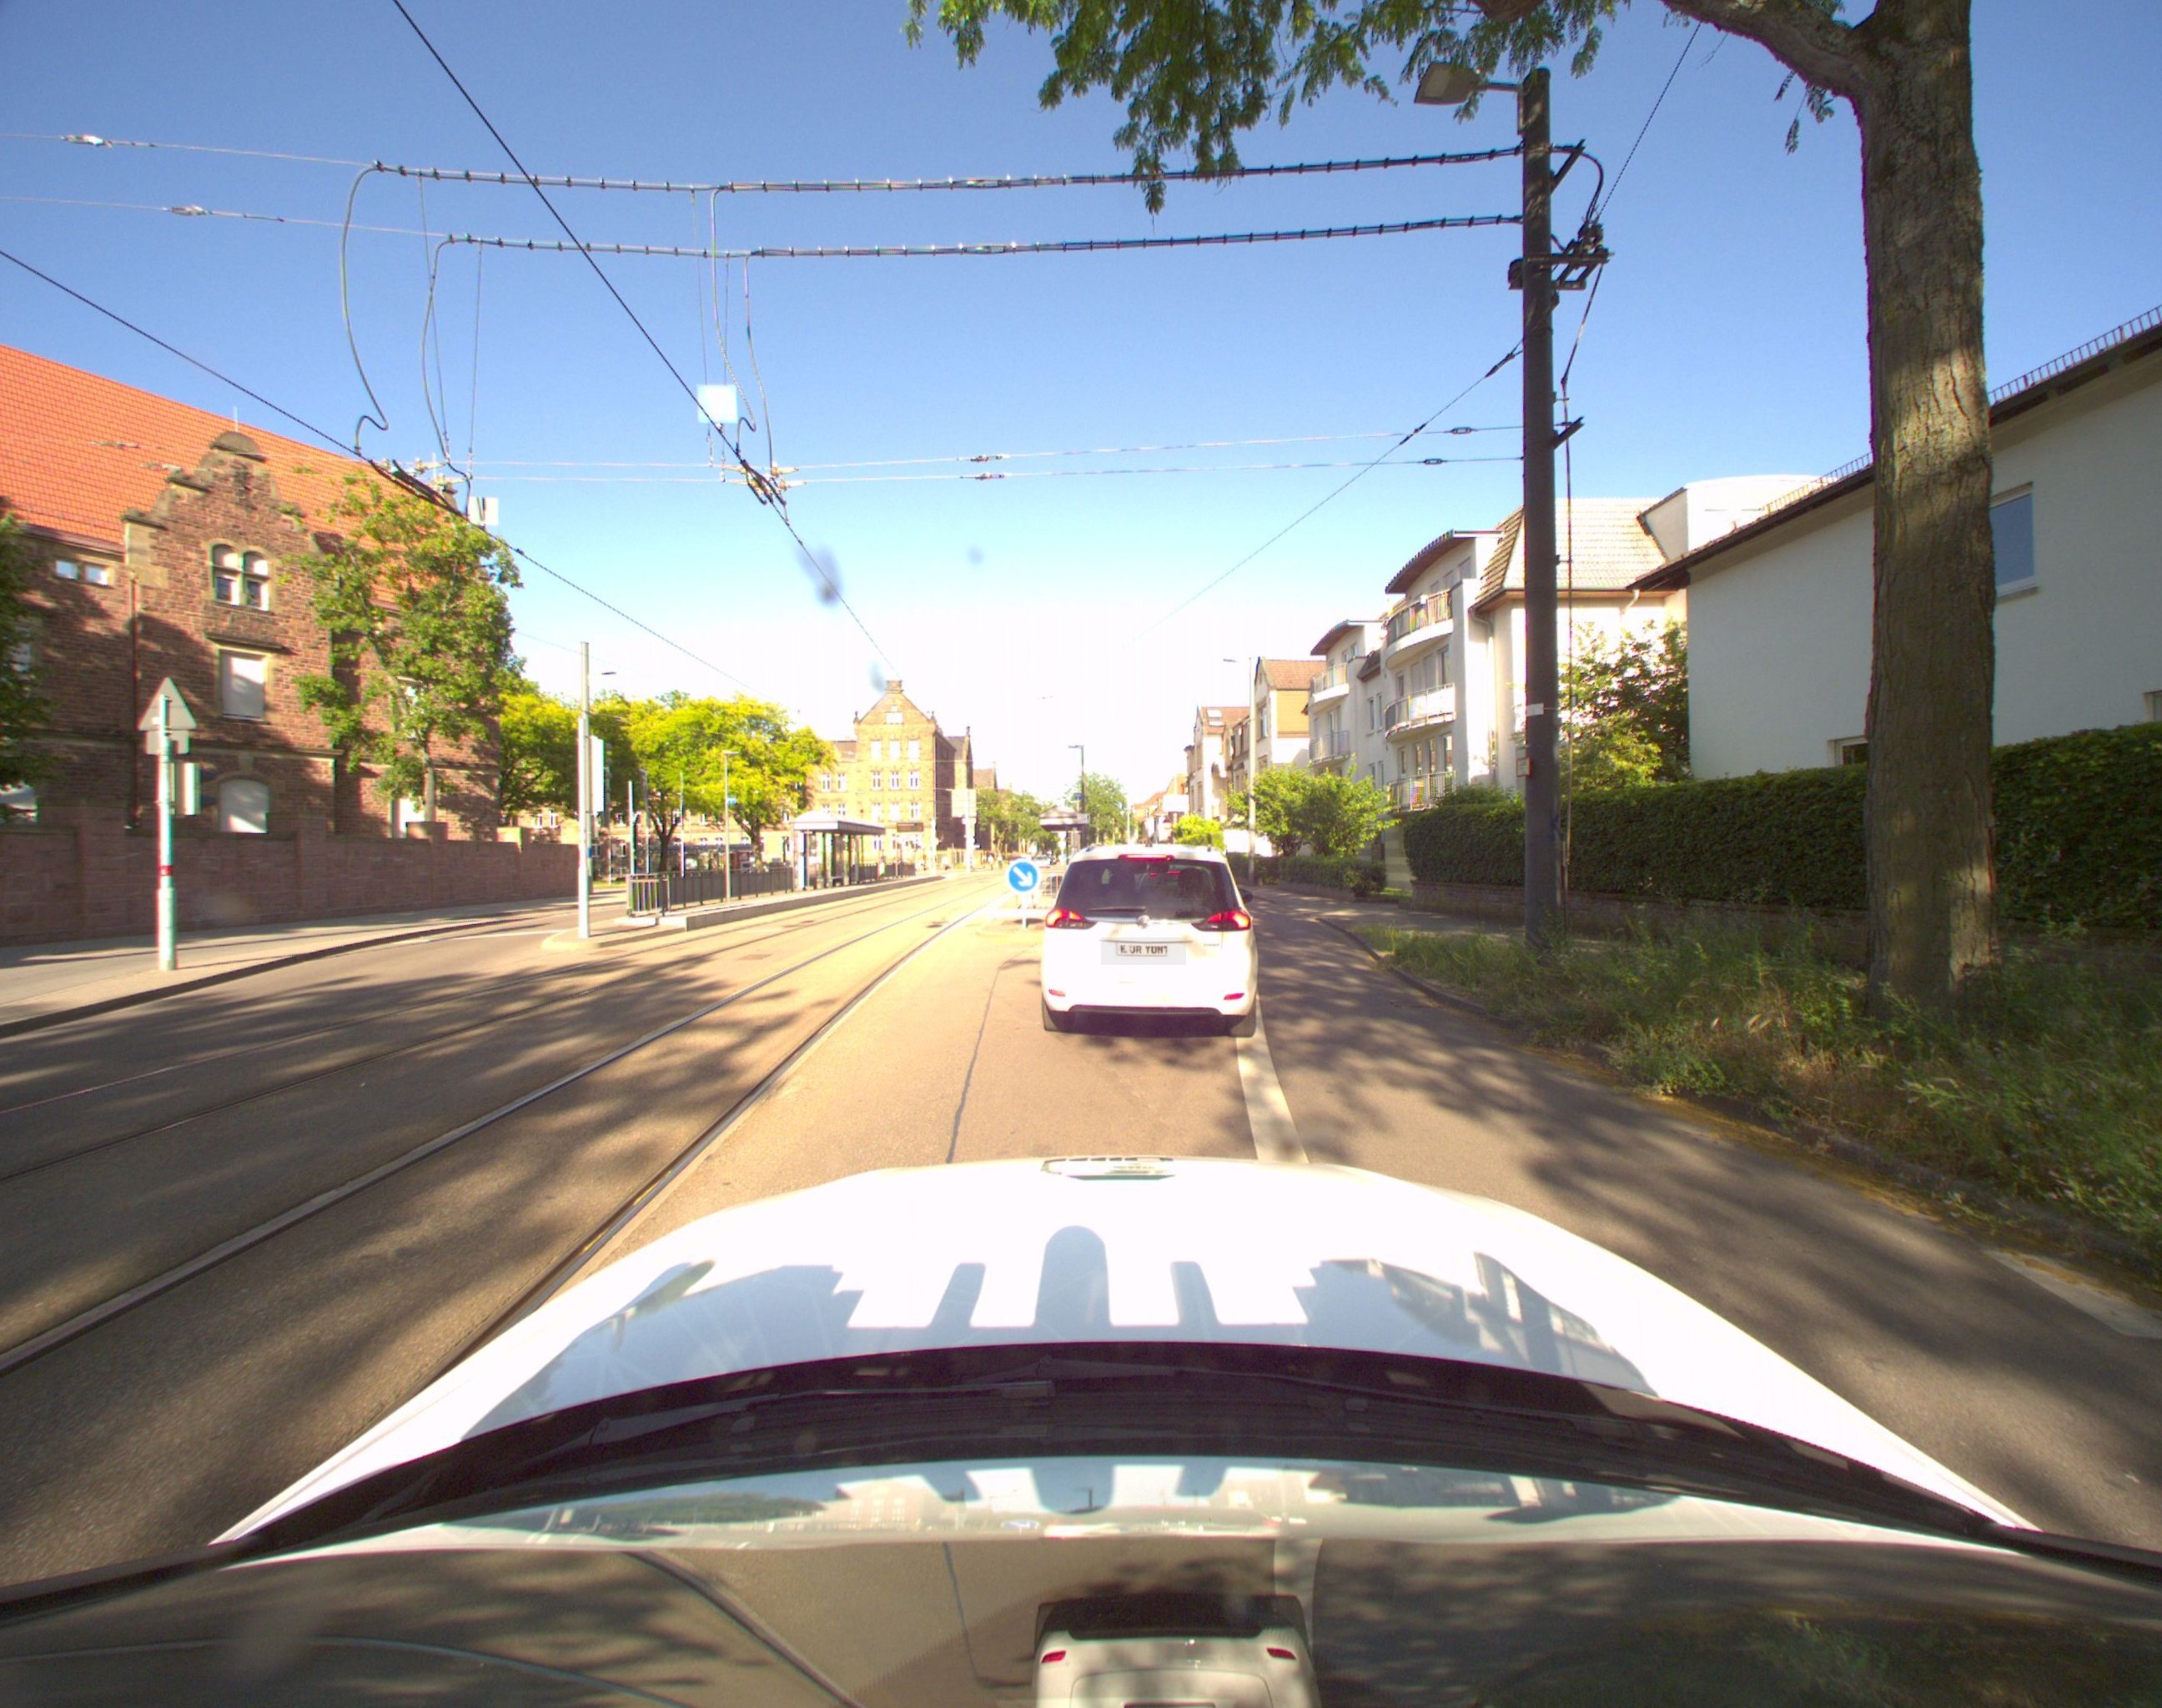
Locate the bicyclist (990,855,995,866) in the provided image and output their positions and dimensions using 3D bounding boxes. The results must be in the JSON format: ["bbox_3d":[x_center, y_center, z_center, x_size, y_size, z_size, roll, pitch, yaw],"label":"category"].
[{"bbox_3d":[-11.084,0.806,101.634,0.529,1.477,0.572,0,-1,1],"label":"bicyclist"}]

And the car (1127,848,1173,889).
[{"bbox_3d":[2.998,0.615,36.171,1.899,1.661,4.003,-1,0,3],"label":"car"}]

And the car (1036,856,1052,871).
[{"bbox_3d":[-4.385,1.121,96.600,1.742,1.716,3.996,0,-1,-3],"label":"car"}]

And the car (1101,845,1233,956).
[{"bbox_3d":[1.562,0.687,13.849,1.896,1.597,4.010,-1,0,9],"label":"car"}]

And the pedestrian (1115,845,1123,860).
[{"bbox_3d":[4.946,-0.209,105.532,0.802,1.901,0.747,-1,-1,16],"label":"pedestrian"}]

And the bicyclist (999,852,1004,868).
[{"bbox_3d":[-9.943,0.747,101.599,0.486,2.014,0.502,0,-1,1],"label":"bicyclist"}]

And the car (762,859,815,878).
[{"bbox_3d":[-25.448,1.239,70.950,3.976,1.630,1.817,0,-1,-2],"label":"car"}]

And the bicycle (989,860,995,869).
[{"bbox_3d":[-11.085,1.287,101.666,0.507,1.077,1.739,0,-1,2],"label":"bicycle"}]

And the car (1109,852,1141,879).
[{"bbox_3d":[2.842,0.748,53.163,1.901,1.661,4.000,-1,0,0],"label":"car"}]

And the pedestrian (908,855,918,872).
[{"bbox_3d":[-18.238,1.020,88.304,0.802,1.901,0.747,-1,-1,16],"label":"pedestrian"}]

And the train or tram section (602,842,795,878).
[{"bbox_3d":[-37.847,0.577,81.123,17.346,3.154,3.344,-1,-1,-3],"label":"train or tram section"}]

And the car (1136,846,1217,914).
[{"bbox_3d":[2.623,0.637,21.670,1.896,1.624,4.010,-1,0,9],"label":"car"}]

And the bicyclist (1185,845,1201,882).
[{"bbox_3d":[5.069,0.439,36.876,0.673,1.658,0.746,-1,0,3],"label":"bicyclist"}]

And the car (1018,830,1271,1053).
[{"bbox_3d":[0.778,0.664,8.183,1.896,1.661,4.010,-1,0,9],"label":"car"}]

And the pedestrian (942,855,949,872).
[{"bbox_3d":[-16.134,1.167,97.173,0.686,2.014,0.619,0,-1,6],"label":"pedestrian"}]

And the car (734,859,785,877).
[{"bbox_3d":[-29.656,1.315,75.192,3.976,1.630,1.817,0,-1,-2],"label":"car"}]

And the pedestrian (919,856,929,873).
[{"bbox_3d":[-18.239,1.235,94.663,0.711,2.014,0.802,-1,-1,30],"label":"pedestrian"}]

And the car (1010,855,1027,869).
[{"bbox_3d":[-7.938,0.983,103.449,1.740,1.716,4.001,0,-1,2],"label":"car"}]

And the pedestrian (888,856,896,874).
[{"bbox_3d":[-18.736,1.108,80.756,0.768,1.774,0.717,0,-1,-15],"label":"pedestrian"}]

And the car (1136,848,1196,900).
[{"bbox_3d":[2.978,0.651,28.327,1.897,1.661,4.007,-1,0,6],"label":"car"}]

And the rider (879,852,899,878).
[{"bbox_3d":[-13.757,0.791,58.272,0.793,1.782,2.488,0,-1,1],"label":"rider"}]

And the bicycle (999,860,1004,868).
[{"bbox_3d":[-9.934,1.237,101.547,0.485,0.971,1.406,0,-1,2],"label":"bicycle"}]

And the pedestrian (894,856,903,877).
[{"bbox_3d":[-17.525,1.210,78.278,0.795,2.014,1.042,0,-1,-12],"label":"pedestrian"}]

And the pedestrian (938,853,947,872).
[{"bbox_3d":[-14.555,0.865,85.495,0.796,2.014,0.717,0,-1,-15],"label":"pedestrian"}]
